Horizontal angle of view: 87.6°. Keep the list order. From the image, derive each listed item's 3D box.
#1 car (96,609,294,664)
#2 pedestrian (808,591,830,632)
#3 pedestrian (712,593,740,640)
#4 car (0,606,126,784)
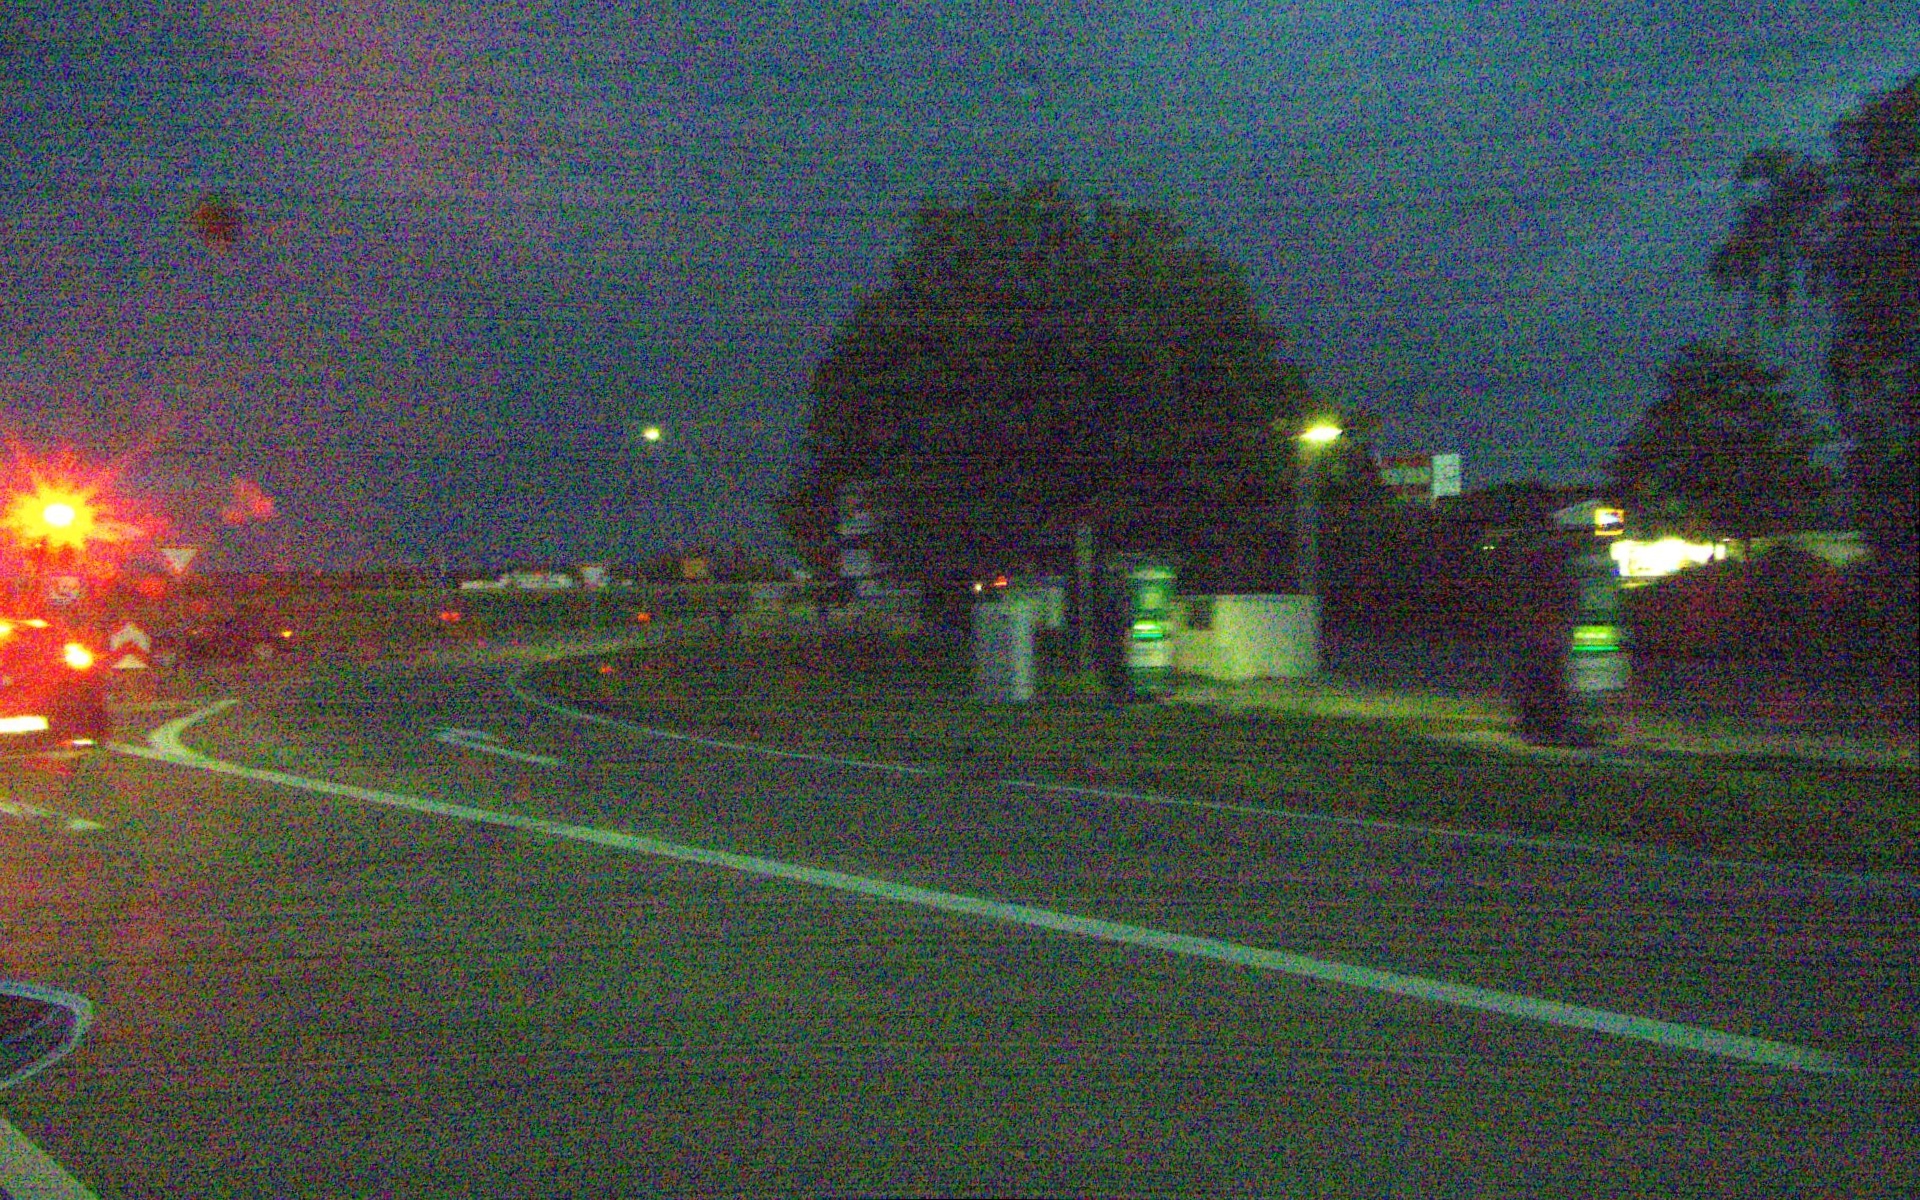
[{"bbox_3d":[-24.196,1.103,31.846,1.972,1.541,4.590,0,1,32],"label":"car"},{"bbox_3d":[-6.617,0.539,47.107,0.860,1.925,0.660,0,1,6],"label":"pedestrian"},{"bbox_3d":[-9.626,0.668,41.223,0.861,1.859,0.731,-3,1,6],"label":"pedestrian"},{"bbox_3d":[-9.935,0.833,9.787,4.048,1.540,1.667,0,-1,34],"label":"car"}]
